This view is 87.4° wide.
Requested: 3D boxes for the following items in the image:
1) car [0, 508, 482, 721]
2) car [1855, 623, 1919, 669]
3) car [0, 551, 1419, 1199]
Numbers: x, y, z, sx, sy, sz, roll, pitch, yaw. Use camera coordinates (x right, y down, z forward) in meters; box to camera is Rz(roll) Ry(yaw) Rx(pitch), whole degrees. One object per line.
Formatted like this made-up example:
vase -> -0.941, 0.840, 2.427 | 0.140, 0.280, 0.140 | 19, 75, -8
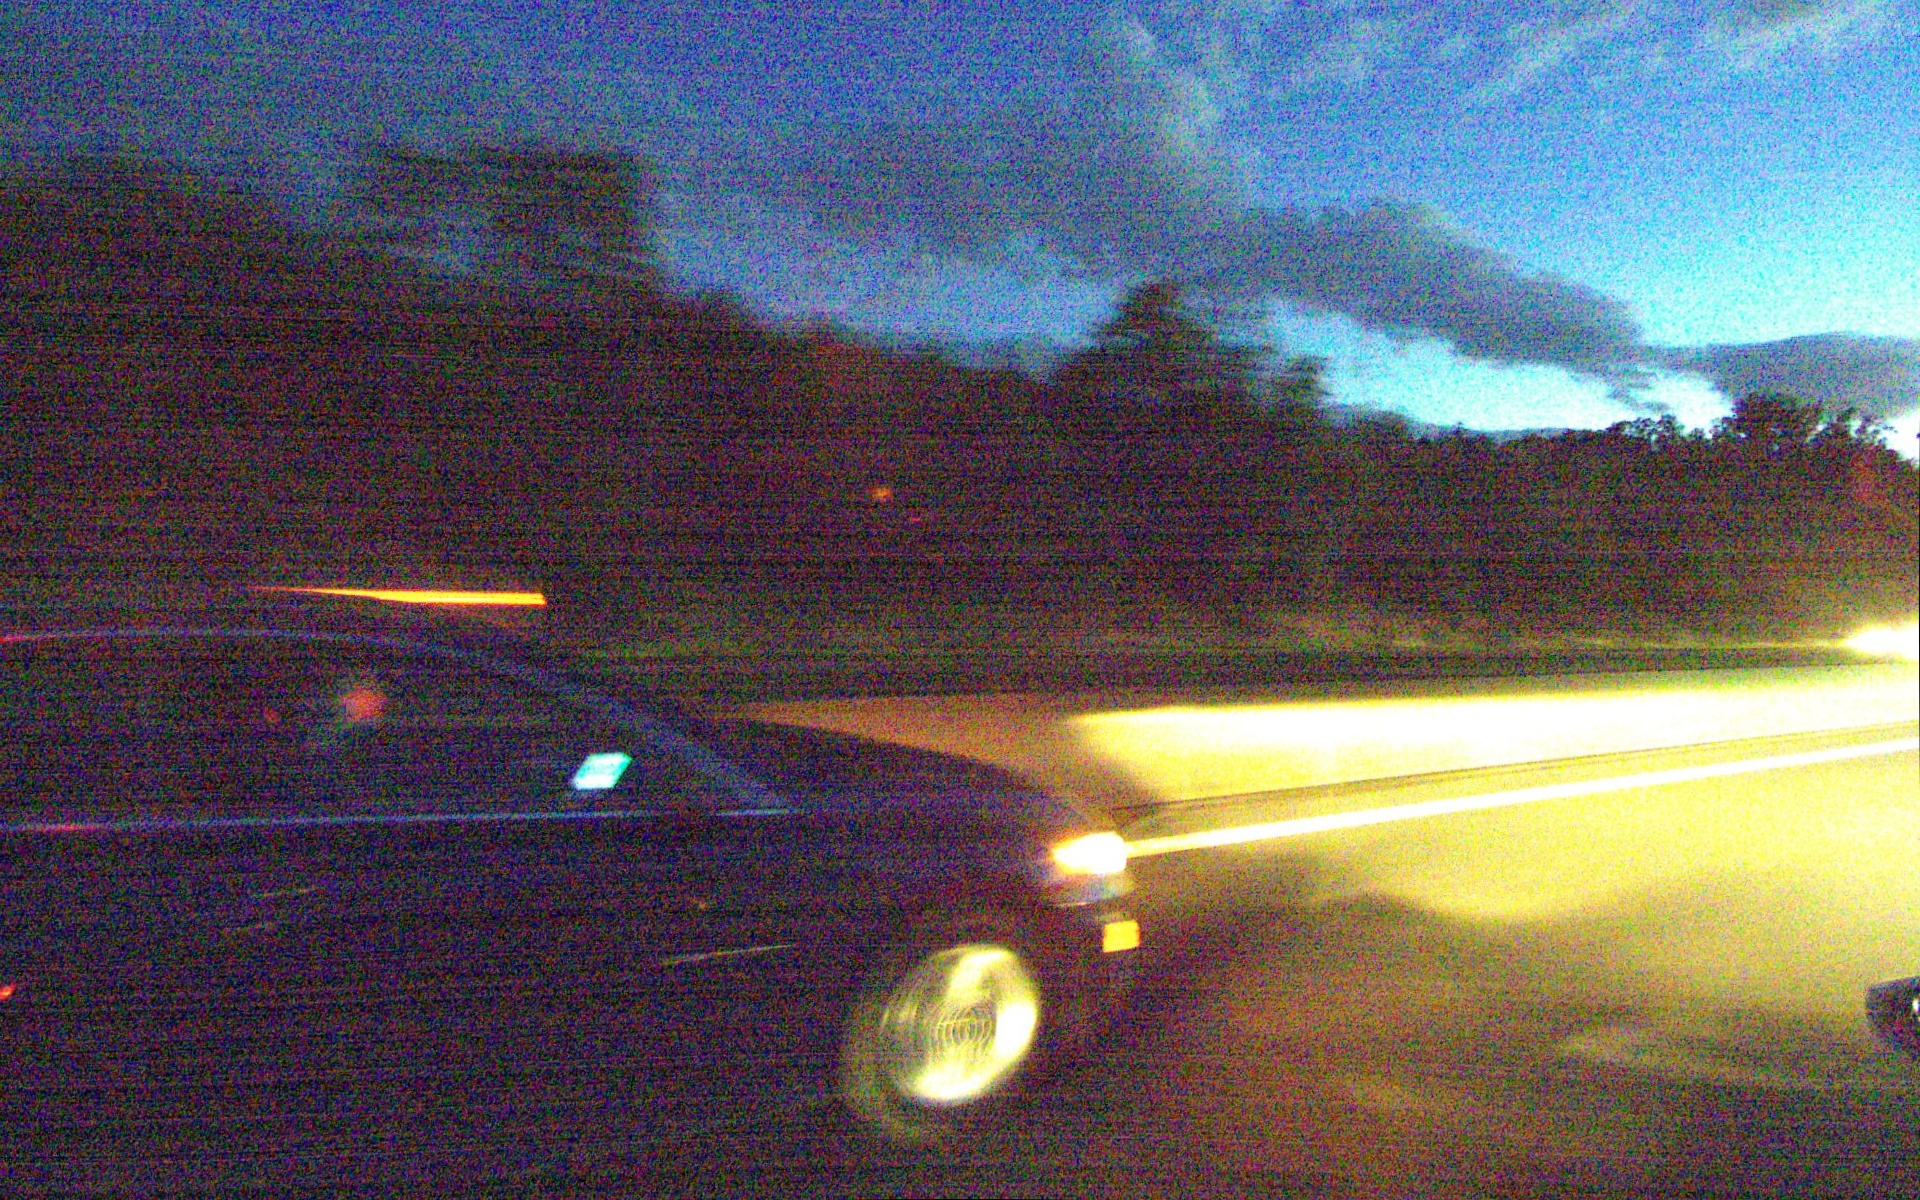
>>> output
car -> -8.813, 0.175, 11.775 | 5.647, 2.129, 2.234 | 1, 0, -30
car -> 38.238, 1.820, 40.279 | 4.835, 1.690, 2.232 | 2, 0, -32
car -> -1.255, 0.681, 3.055 | 5.584, 1.539, 1.984 | 0, 1, -30
